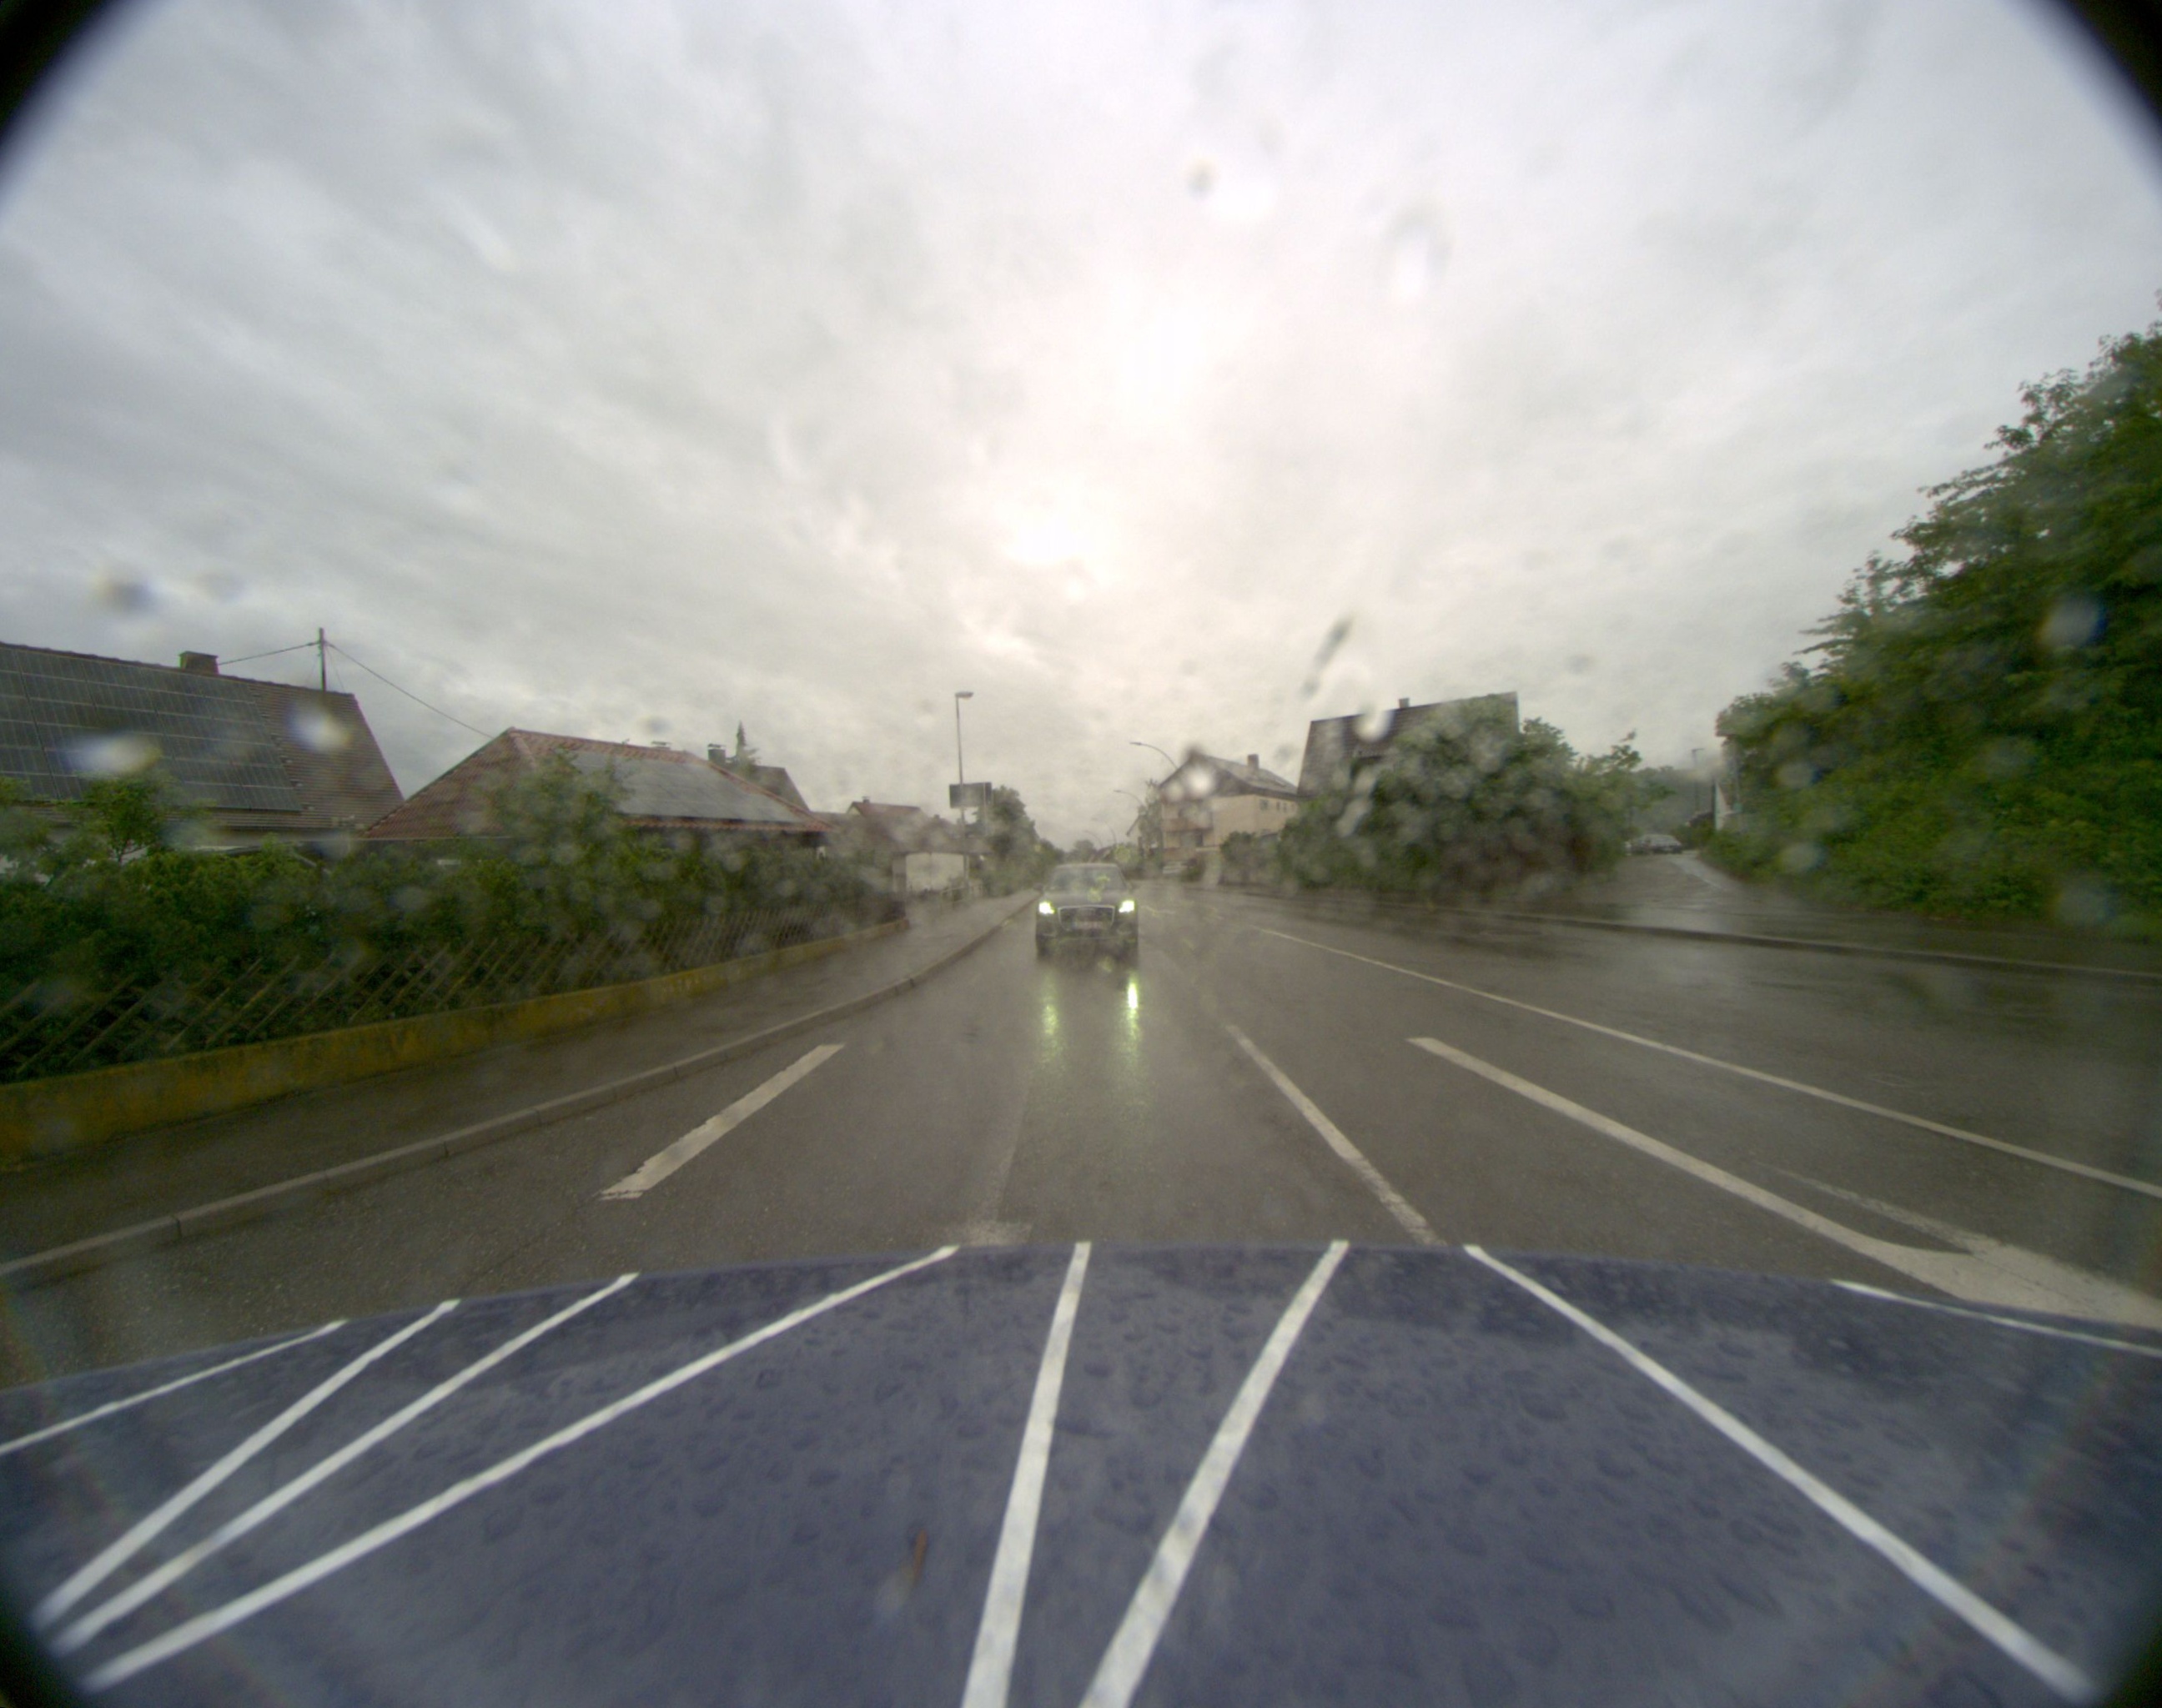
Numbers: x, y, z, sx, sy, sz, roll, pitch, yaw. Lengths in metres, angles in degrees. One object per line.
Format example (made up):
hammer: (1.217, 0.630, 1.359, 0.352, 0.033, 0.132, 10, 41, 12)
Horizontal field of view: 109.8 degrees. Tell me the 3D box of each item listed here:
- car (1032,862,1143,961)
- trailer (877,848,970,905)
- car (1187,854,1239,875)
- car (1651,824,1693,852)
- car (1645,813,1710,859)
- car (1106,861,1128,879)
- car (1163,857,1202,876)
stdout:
car: (0.264, 0.960, 14.333, 1.687, 1.486, 3.941, -3, 0, 6)
trailer: (-7.595, 1.026, 37.124, 1.645, 2.502, 4.712, -3, -1, 29)
car: (10.615, 0.869, 61.289, 3.661, 1.510, 1.758, -3, 0, 35)
car: (41.136, -1.127, 52.856, 1.995, 1.848, 4.008, -3, 0, 41)
car: (22.973, -0.699, 29.219, 1.706, 1.579, 3.669, -2, 0, 42)
car: (3.696, 1.638, 78.400, 1.998, 1.658, 4.418, -3, 0, 5)
car: (8.975, 1.077, 67.140, 1.864, 1.510, 4.007, -3, 0, 32)
